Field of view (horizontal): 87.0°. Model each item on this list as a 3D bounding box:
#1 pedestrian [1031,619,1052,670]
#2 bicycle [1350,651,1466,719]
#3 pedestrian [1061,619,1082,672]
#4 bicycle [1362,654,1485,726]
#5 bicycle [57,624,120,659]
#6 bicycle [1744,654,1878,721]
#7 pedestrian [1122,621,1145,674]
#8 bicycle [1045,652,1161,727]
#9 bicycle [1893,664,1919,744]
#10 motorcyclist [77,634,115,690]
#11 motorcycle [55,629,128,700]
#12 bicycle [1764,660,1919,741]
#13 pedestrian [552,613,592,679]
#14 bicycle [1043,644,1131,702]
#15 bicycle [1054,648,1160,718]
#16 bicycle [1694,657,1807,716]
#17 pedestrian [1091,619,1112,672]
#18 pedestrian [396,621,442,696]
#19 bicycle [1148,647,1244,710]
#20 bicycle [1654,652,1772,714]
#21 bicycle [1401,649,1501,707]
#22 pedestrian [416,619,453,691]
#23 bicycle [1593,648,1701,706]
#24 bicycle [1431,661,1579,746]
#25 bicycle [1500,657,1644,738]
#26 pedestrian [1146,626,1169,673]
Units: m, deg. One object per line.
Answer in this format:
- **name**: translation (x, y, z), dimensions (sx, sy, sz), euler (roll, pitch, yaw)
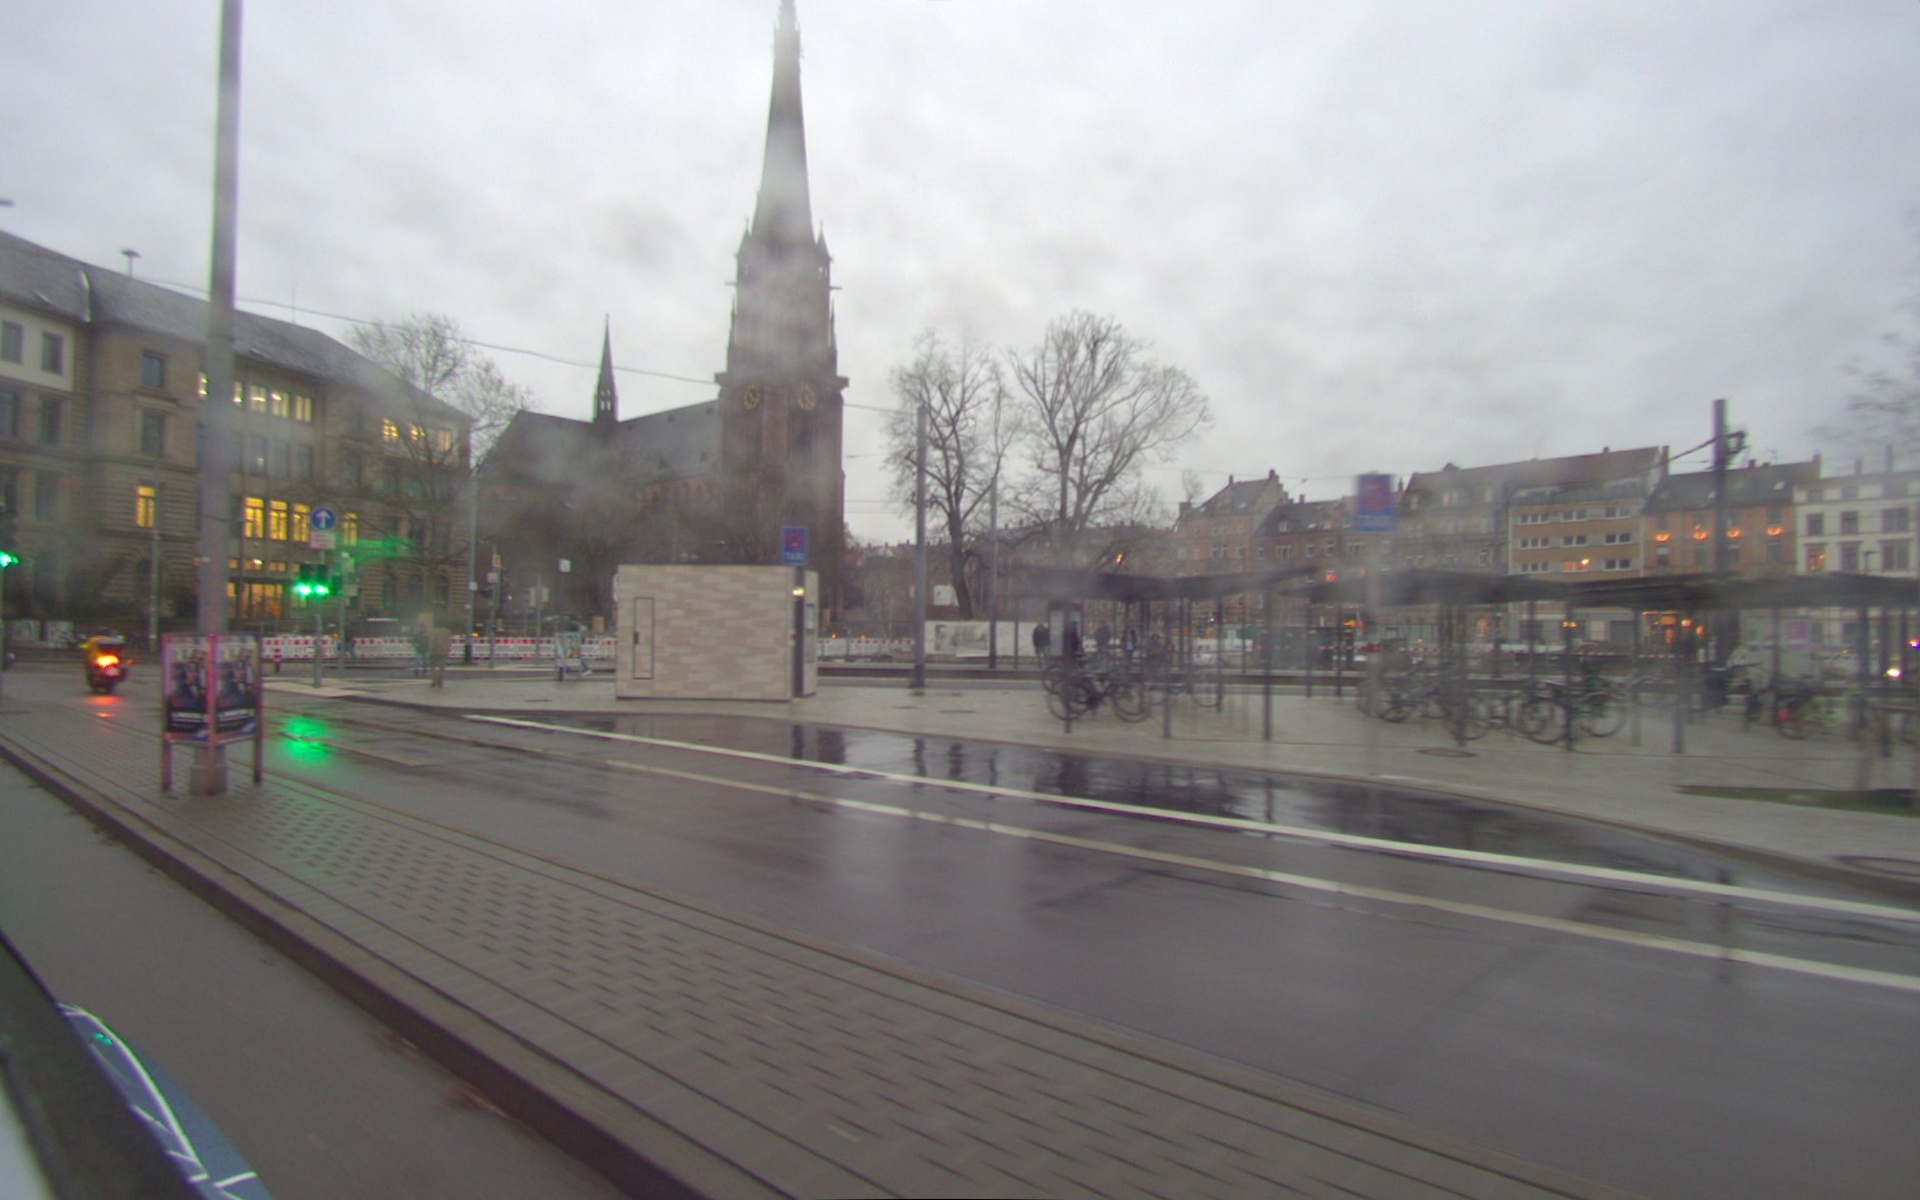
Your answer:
- **pedestrian**: translation (2.885, 1.585, 35.966), dimensions (0.709, 1.770, 0.713), euler (1, -1, 7)
- **bicycle**: translation (8.342, 1.569, 18.890), dimensions (1.879, 1.174, 0.548), euler (1, 0, 12)
- **pedestrian**: translation (3.942, 1.608, 35.777), dimensions (0.709, 1.820, 0.713), euler (1, -1, 7)
- **bicycle**: translation (8.227, 1.580, 18.026), dimensions (1.879, 1.174, 0.548), euler (1, 0, 12)
- **bicycle**: translation (-44.988, 2.131, 52.264), dimensions (2.388, 1.701, 0.715), euler (0, 0, -33)
- **bicycle**: translation (16.036, 1.636, 19.104), dimensions (1.879, 1.174, 0.548), euler (1, 0, 12)
- **pedestrian**: translation (6.070, 1.645, 35.454), dimensions (0.709, 1.820, 0.713), euler (1, -1, 7)
- **bicycle**: translation (2.450, 1.509, 17.317), dimensions (1.922, 1.174, 0.548), euler (1, 0, 12)
- **bicycle**: translation (15.541, 1.606, 15.474), dimensions (1.877, 1.174, 0.549), euler (1, 0, 9)
- **motorcyclist**: translation (-19.469, 1.393, 22.793), dimensions (0.610, 1.202, 0.531), euler (1, 0, 37)
- **motorcycle**: translation (-19.552, 1.412, 22.774), dimensions (2.312, 1.509, 0.821), euler (-1, -3, 40)
- **bicycle**: translation (14.100, 1.589, 16.179), dimensions (1.879, 1.174, 0.548), euler (1, 0, 12)
- **pedestrian**: translation (-11.053, 1.310, 28.843), dimensions (0.821, 1.827, 0.599), euler (-2, 1, 28)
- **bicycle**: translation (2.807, 1.596, 22.339), dimensions (1.879, 1.174, 0.548), euler (1, 0, 12)
- **bicycle**: translation (2.675, 1.499, 18.448), dimensions (1.879, 1.174, 0.548), euler (1, 0, 12)
- **bicycle**: translation (17.166, 1.860, 22.010), dimensions (1.879, 1.174, 0.548), euler (1, 0, 12)
- **pedestrian**: translation (4.955, 1.579, 35.487), dimensions (0.709, 1.820, 0.713), euler (1, -1, 7)
- **pedestrian**: translation (-17.841, 1.903, 33.384), dimensions (1.062, 2.388, 0.984), euler (1, 0, 37)
- **bicycle**: translation (4.814, 1.595, 20.746), dimensions (1.879, 1.174, 0.548), euler (1, 0, 12)
- **bicycle**: translation (15.632, 1.710, 21.043), dimensions (1.879, 1.174, 0.548), euler (1, 0, 12)
- **bicycle**: translation (10.766, 1.700, 22.247), dimensions (1.879, 1.174, 0.548), euler (1, 0, 12)
- **pedestrian**: translation (-12.743, 1.321, 24.568), dimensions (0.663, 1.686, 0.732), euler (0, 0, -18)
- **bicycle**: translation (15.115, 1.690, 22.291), dimensions (1.879, 1.174, 0.548), euler (1, 0, 12)
- **bicycle**: translation (8.242, 1.550, 15.369), dimensions (1.879, 1.174, 0.548), euler (1, 0, 12)
- **bicycle**: translation (9.779, 1.546, 16.236), dimensions (1.879, 1.174, 0.548), euler (1, 0, 12)
- **pedestrian**: translation (6.929, 1.733, 35.550), dimensions (0.709, 1.630, 0.713), euler (1, -1, 7)
